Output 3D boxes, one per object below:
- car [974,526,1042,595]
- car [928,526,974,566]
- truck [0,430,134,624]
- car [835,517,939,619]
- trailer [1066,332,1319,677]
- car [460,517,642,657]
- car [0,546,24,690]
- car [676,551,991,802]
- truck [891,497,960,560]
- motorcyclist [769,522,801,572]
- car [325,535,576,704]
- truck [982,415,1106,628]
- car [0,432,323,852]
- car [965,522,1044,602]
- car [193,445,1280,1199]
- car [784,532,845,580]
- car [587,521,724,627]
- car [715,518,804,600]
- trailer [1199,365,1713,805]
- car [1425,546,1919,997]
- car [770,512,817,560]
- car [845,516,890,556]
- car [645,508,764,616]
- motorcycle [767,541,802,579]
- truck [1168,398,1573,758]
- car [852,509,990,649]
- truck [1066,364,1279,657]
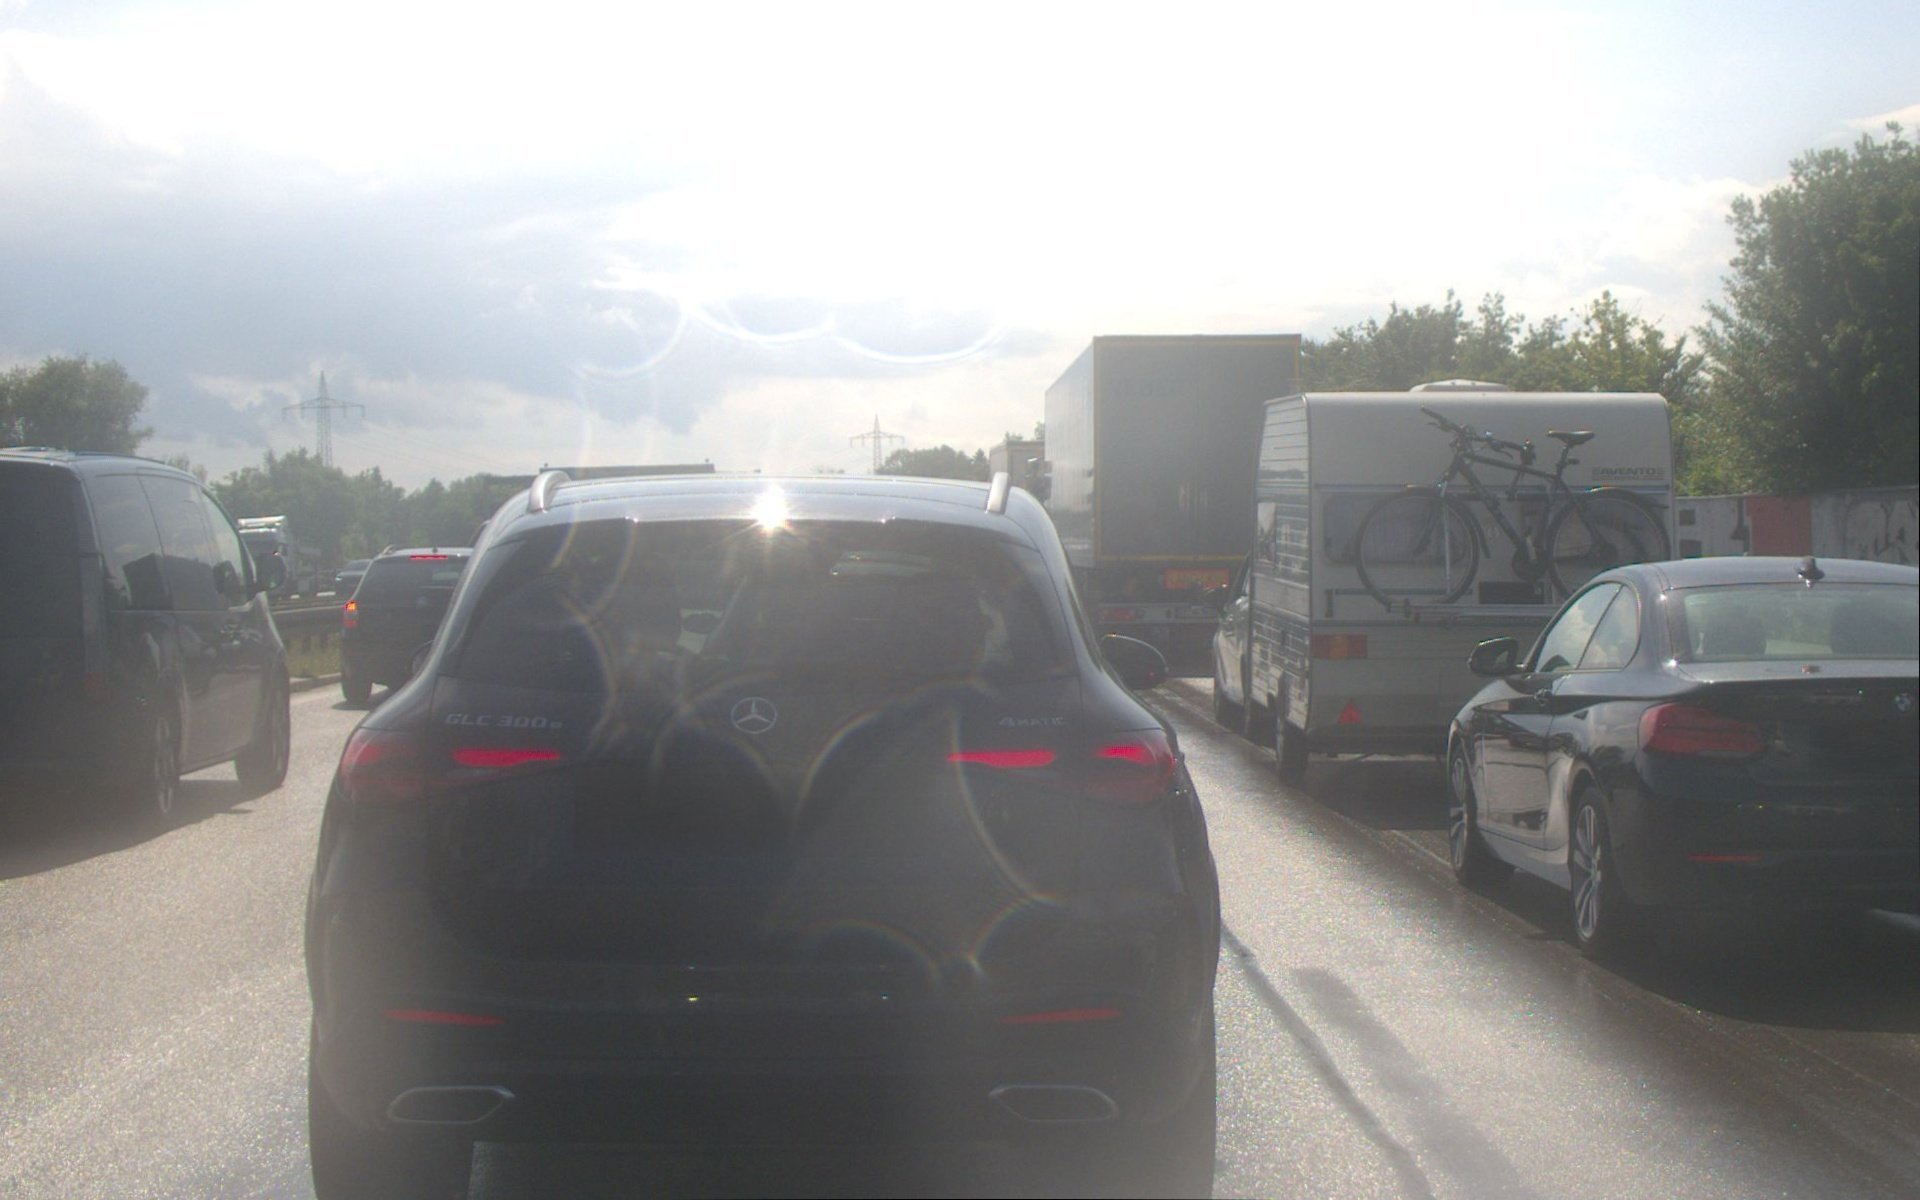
[{"bbox_3d":[1.486,-1.263,108.602,1.993,2.007,4.000,4,1,0],"label":"car"},{"bbox_3d":[-0.431,-2.460,156.585,1.876,1.754,4.001,1,1,-3],"label":"car"},{"bbox_3d":[-20.877,-1.580,76.775,3.004,4.089,7.687,-2,1,-1],"label":"truck"},{"bbox_3d":[-1.470,-0.678,70.629,1.993,2.007,4.000,1,1,0],"label":"car"},{"bbox_3d":[2.941,-1.220,45.859,3.007,4.152,8.536,0,1,2],"label":"trailer"},{"bbox_3d":[-5.241,-0.189,44.501,1.993,1.714,4.000,1,1,-2],"label":"car"},{"bbox_3d":[-12.493,0.226,40.204,1.993,1.724,4.206,0,0,-1],"label":"car"},{"bbox_3d":[-0.691,0.399,21.217,1.757,1.382,3.945,0,1,0],"label":"car"},{"bbox_3d":[-2.335,-4.681,227.316,3.842,4.003,11.223,1,1,-4],"label":"truck"},{"bbox_3d":[-6.048,-1.820,118.748,1.064,1.712,0.785,0,1,0],"label":"motorcyclist"},{"bbox_3d":[-4.828,0.137,33.095,1.757,1.511,4.209,0,1,0],"label":"car"},{"bbox_3d":[1.936,-1.835,81.817,2.502,4.813,7.544,1,1,-2],"label":"truck"},{"bbox_3d":[-4.996,0.152,19.059,1.993,2.007,5.270,0,1,-1],"label":"car"},{"bbox_3d":[1.168,-1.019,91.105,1.993,2.007,4.000,2,1,0],"label":"car"},{"bbox_3d":[-0.431,0.513,8.521,1.993,1.656,4.406,0,1,-1],"label":"car"},{"bbox_3d":[-5.366,-1.646,127.265,1.993,1.610,4.000,4,1,0],"label":"car"},{"bbox_3d":[-5.235,-0.470,59.507,1.993,1.766,4.000,0,1,0],"label":"car"},{"bbox_3d":[-5.132,-1.059,88.517,1.993,2.007,4.000,2,1,0],"label":"car"},{"bbox_3d":[3.050,-0.129,22.816,2.374,2.475,6.523,1,1,-1],"label":"trailer"},{"bbox_3d":[3.041,0.531,13.397,1.848,1.459,4.256,-1,1,0],"label":"car"},{"bbox_3d":[-7.485,-2.886,154.723,1.993,2.007,4.001,4,1,-3],"label":"car"},{"bbox_3d":[-4.139,-2.864,153.656,1.876,1.754,4.001,1,1,-3],"label":"car"},{"bbox_3d":[-5.149,-0.787,69.765,1.993,2.007,4.000,4,1,0],"label":"car"},{"bbox_3d":[-6.052,-1.390,118.619,1.074,1.267,2.690,0,1,0],"label":"motorcycle"},{"bbox_3d":[3.019,-0.189,26.691,2.374,2.468,5.756,1,1,-1],"label":"truck"},{"bbox_3d":[-0.586,-0.358,54.422,1.993,2.007,4.000,4,1,0],"label":"car"},{"bbox_3d":[3.107,-1.319,51.594,2.995,4.152,5.240,0,1,2],"label":"truck"}]
